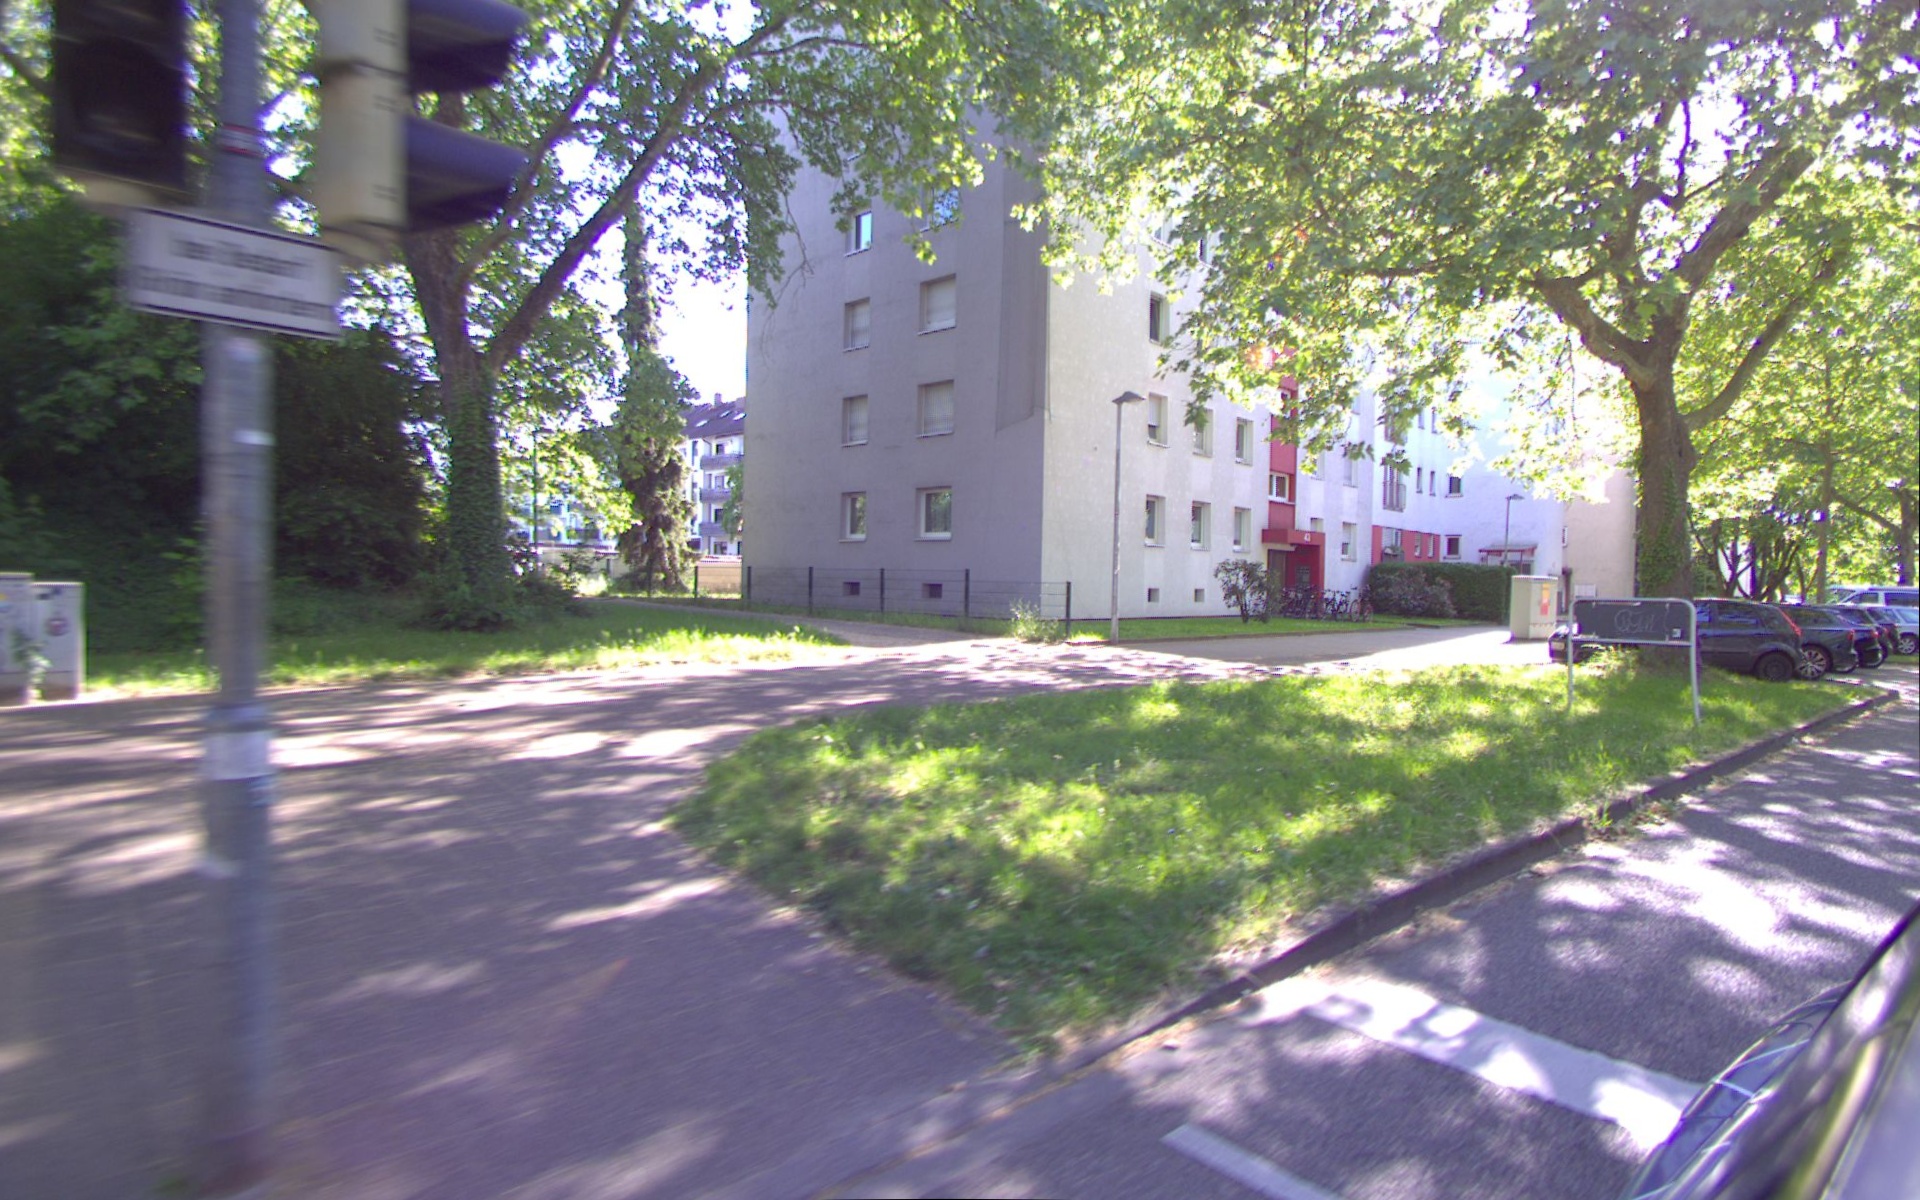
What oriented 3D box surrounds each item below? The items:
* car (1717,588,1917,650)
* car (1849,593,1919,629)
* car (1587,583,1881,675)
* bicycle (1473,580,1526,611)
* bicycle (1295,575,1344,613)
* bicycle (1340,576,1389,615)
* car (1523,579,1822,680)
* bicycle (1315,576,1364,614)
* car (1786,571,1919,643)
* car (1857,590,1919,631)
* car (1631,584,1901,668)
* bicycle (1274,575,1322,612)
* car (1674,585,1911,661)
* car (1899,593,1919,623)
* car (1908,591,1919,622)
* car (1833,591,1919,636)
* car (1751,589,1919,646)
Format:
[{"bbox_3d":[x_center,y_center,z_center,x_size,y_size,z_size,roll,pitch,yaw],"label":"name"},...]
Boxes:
[{"bbox_3d":[24.073,0.500,28.562,3.857,1.434,1.797,3,3,7],"label":"car"},{"bbox_3d":[43.039,0.542,45.318,4.339,1.445,1.946,3,3,11],"label":"car"},{"bbox_3d":[15.237,0.522,20.158,4.188,1.479,1.796,3,3,10],"label":"car"},{"bbox_3d":[22.145,-0.199,41.549,0.541,1.143,1.796,1,4,-45],"label":"bicycle"},{"bbox_3d":[11.041,-0.173,31.066,1.768,1.121,0.591,0,1,-41],"label":"bicycle"},{"bbox_3d":[11.989,-0.141,29.986,1.768,1.121,0.591,0,1,-41],"label":"bicycle"},{"bbox_3d":[12.645,0.477,18.197,3.930,1.479,1.798,3,3,6],"label":"car"},{"bbox_3d":[11.484,-0.160,30.594,1.768,1.121,0.591,0,1,-41],"label":"bicycle"},{"bbox_3d":[29.739,0.229,32.417,4.516,2.077,2.013,3,3,10],"label":"car"},{"bbox_3d":[40.875,0.493,42.829,3.932,1.609,1.797,3,3,7],"label":"car"},{"bbox_3d":[17.546,0.517,22.236,4.188,1.479,1.796,3,3,10],"label":"car"},{"bbox_3d":[10.510,-0.192,31.477,1.768,1.121,0.591,0,1,-41],"label":"bicycle"},{"bbox_3d":[19.793,0.507,24.219,3.932,1.485,1.780,3,3,7],"label":"car"},{"bbox_3d":[48.896,0.491,49.226,4.509,1.440,1.798,2,2,5],"label":"car"},{"bbox_3d":[52.020,0.438,52.321,3.935,1.595,1.796,3,2,10],"label":"car"},{"bbox_3d":[36.273,0.547,38.631,4.135,1.528,1.800,3,3,2],"label":"car"},{"bbox_3d":[26.871,0.526,30.377,4.514,1.441,1.796,3,3,9],"label":"car"}]
